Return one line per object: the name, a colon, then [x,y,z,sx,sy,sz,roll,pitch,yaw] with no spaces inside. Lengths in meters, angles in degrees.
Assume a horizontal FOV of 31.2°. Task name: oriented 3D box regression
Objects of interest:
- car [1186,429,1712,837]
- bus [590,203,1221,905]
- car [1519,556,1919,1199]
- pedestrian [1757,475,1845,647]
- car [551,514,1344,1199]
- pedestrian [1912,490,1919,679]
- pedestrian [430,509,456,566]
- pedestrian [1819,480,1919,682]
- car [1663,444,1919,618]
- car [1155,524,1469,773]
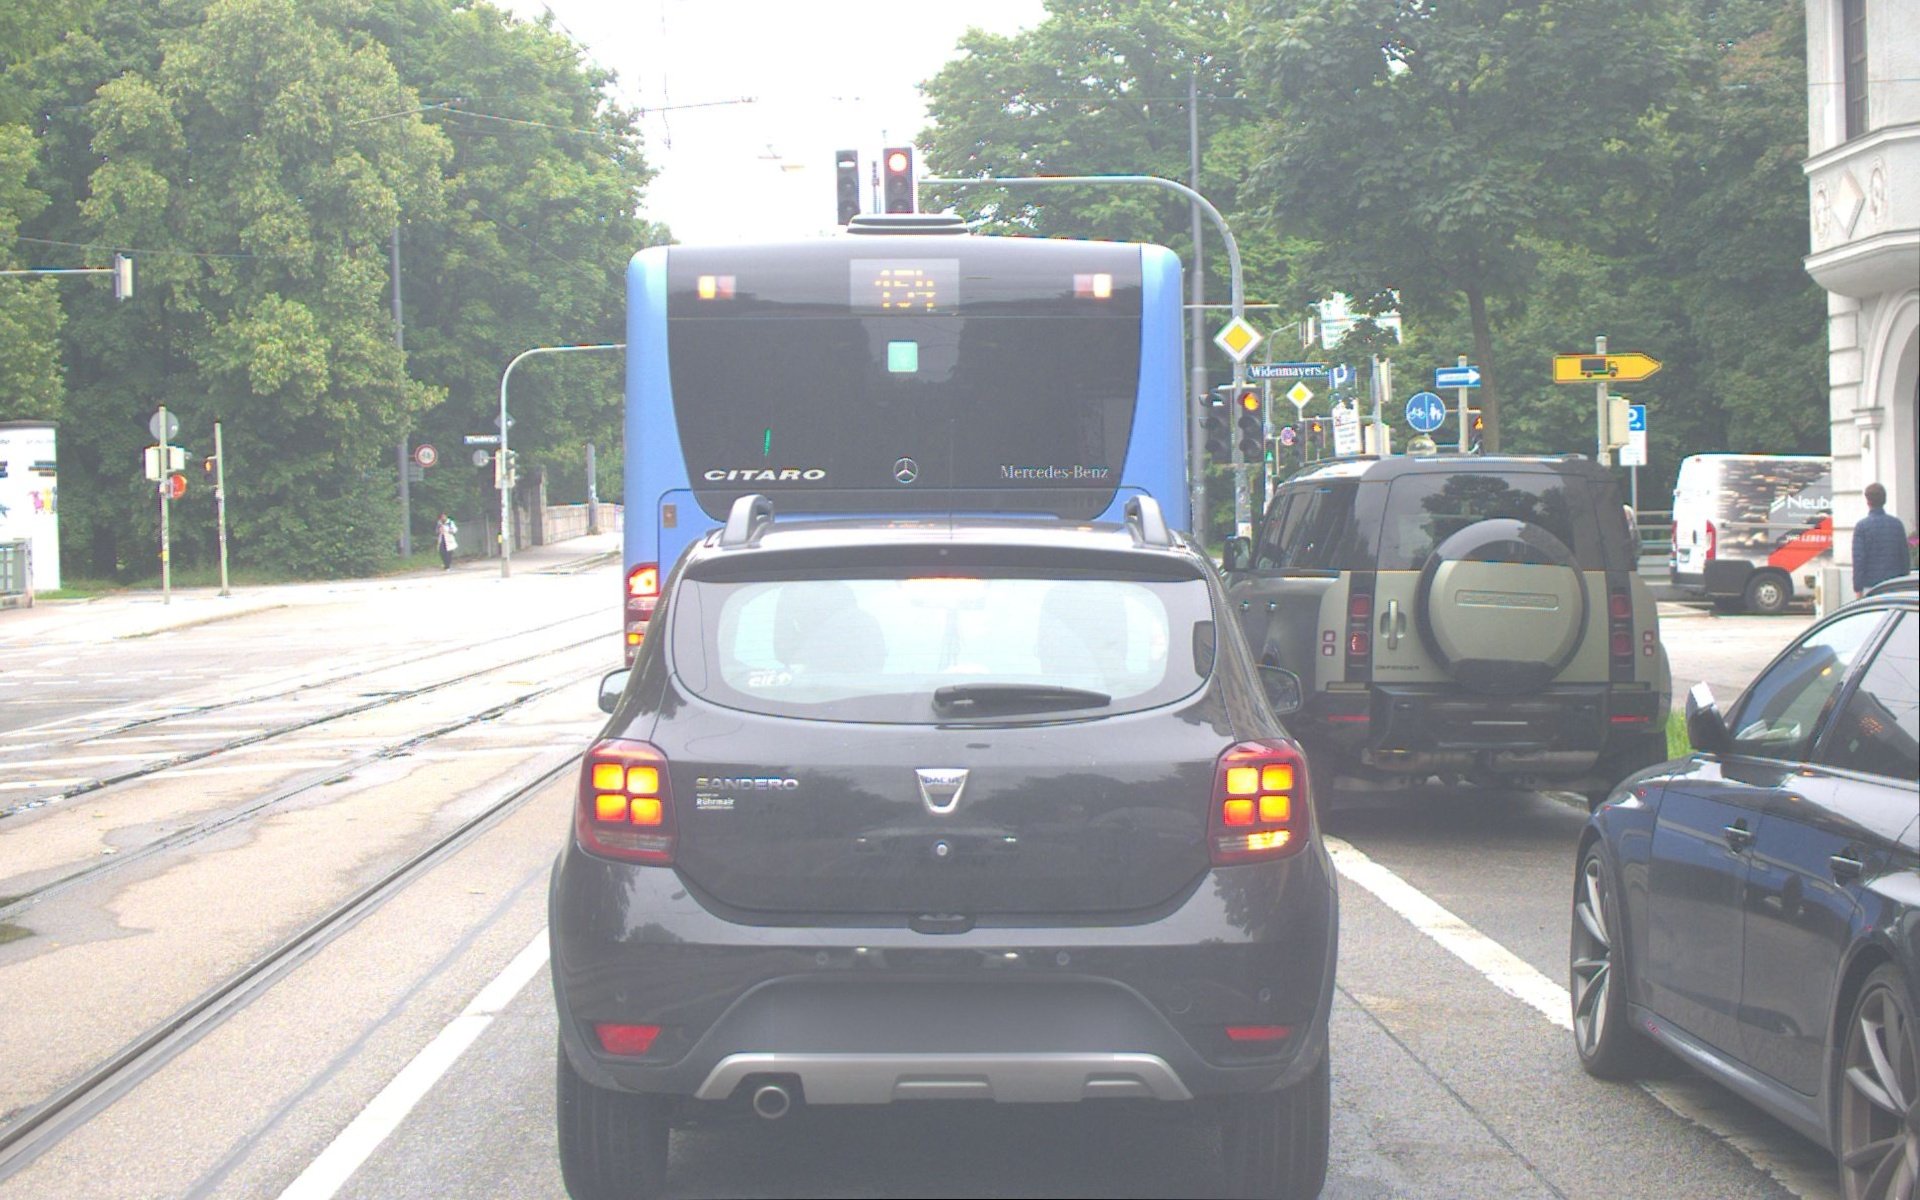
car: [2.463,0.127,18.573,1.914,1.899,4.808,1,1,-3]
bus: [-0.380,-0.237,18.270,2.678,2.987,6.962,1,1,-2]
car: [2.578,0.622,7.941,1.716,1.421,4.602,1,1,-1]
pedestrian: [9.917,-0.458,40.543,0.714,2.007,0.675,0,1,-35]
car: [-0.062,0.587,8.777,1.600,1.551,3.525,1,1,-1]
pedestrian: [9.132,-0.133,31.214,0.705,1.726,0.843,1,1,-1]
pedestrian: [-13.628,-1.655,90.603,0.532,1.496,0.588,1,1,4]
pedestrian: [8.304,-0.178,31.332,0.705,1.810,0.870,1,1,-1]
car: [13.834,-1.046,53.331,5.295,2.603,2.231,1,1,-3]
car: [2.397,0.287,24.371,1.714,1.586,4.327,1,1,-1]
